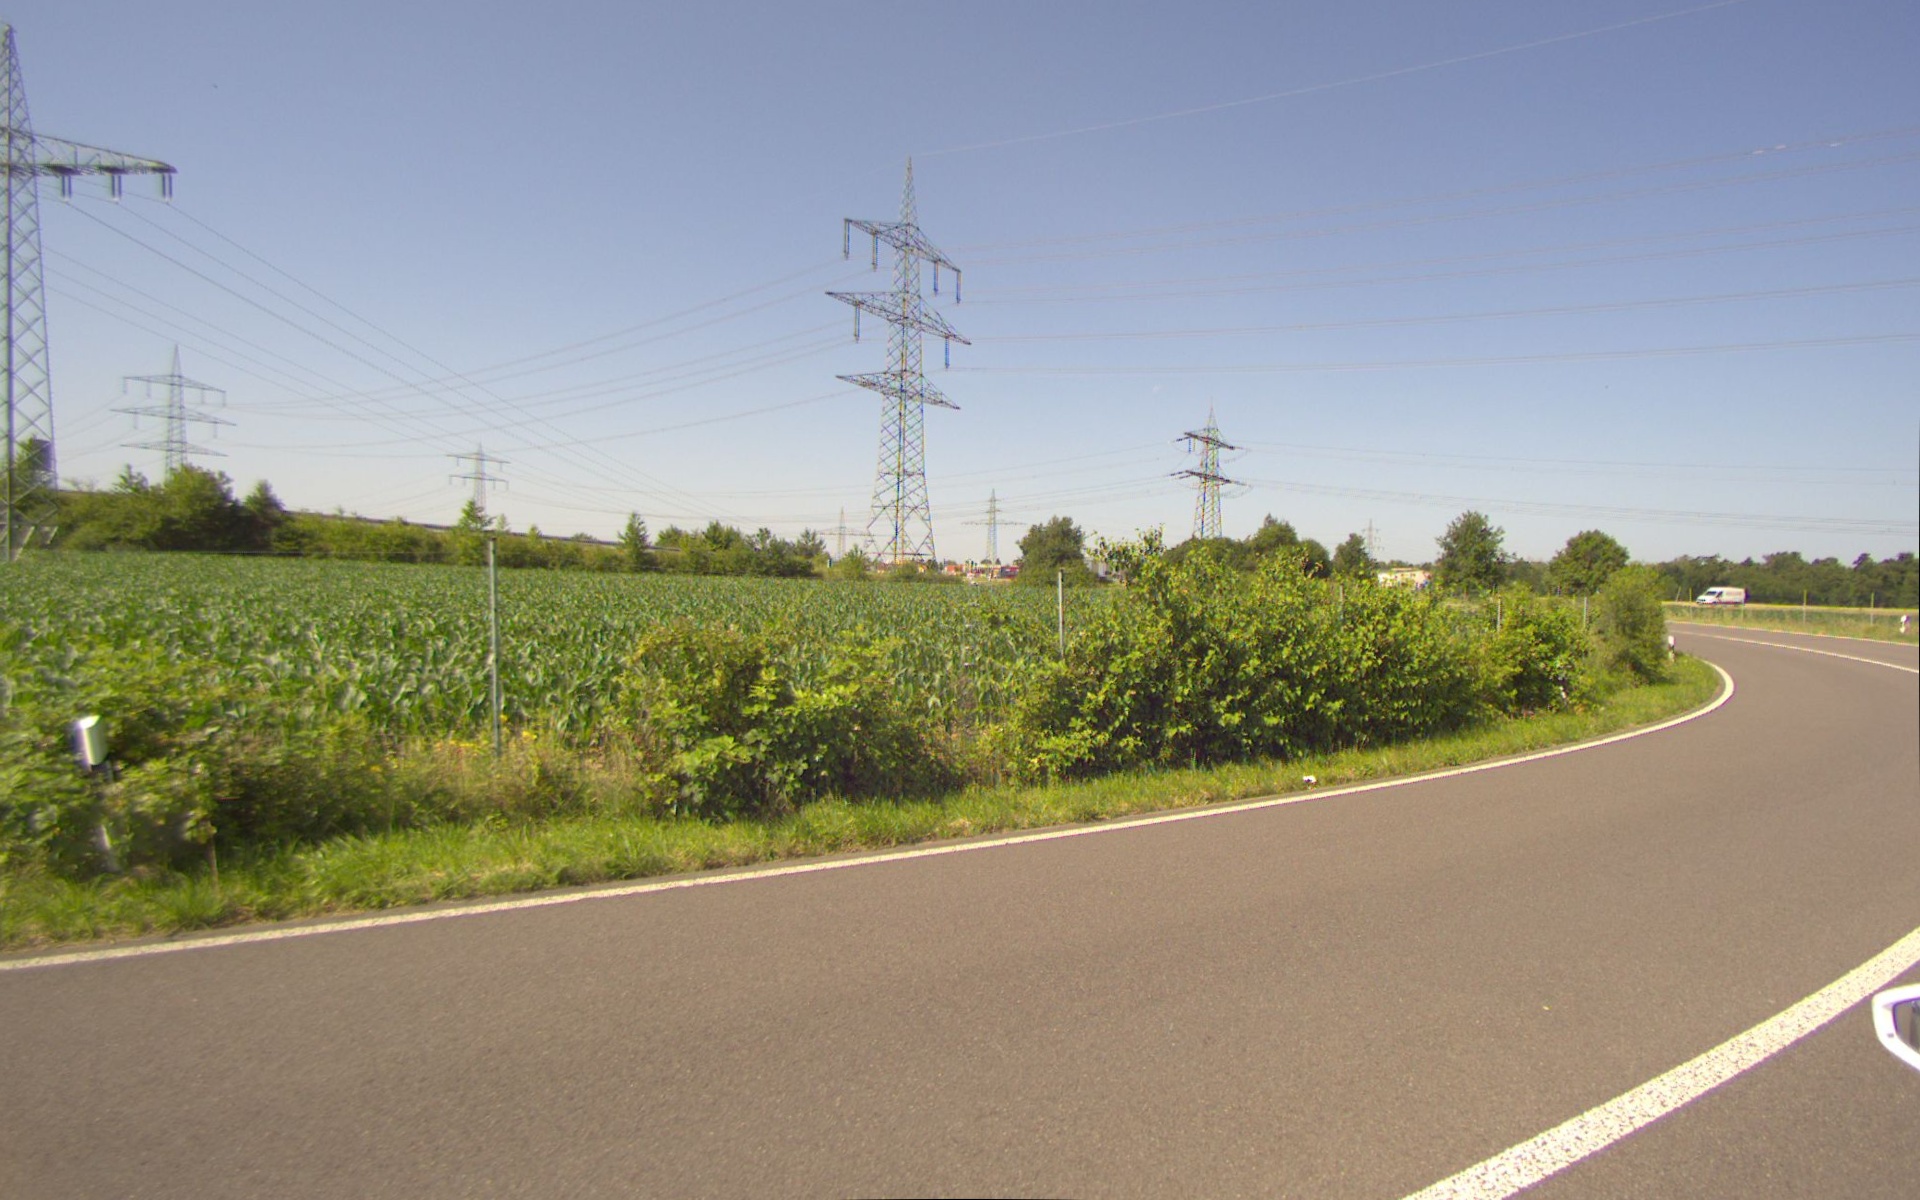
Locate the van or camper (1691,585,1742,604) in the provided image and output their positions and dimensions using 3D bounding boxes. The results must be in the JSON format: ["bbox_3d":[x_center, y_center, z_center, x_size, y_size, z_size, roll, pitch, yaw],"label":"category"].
[{"bbox_3d":[99.105,-0.730,131.580,5.667,2.297,1.996,1,1,-11],"label":"van or camper"}]
